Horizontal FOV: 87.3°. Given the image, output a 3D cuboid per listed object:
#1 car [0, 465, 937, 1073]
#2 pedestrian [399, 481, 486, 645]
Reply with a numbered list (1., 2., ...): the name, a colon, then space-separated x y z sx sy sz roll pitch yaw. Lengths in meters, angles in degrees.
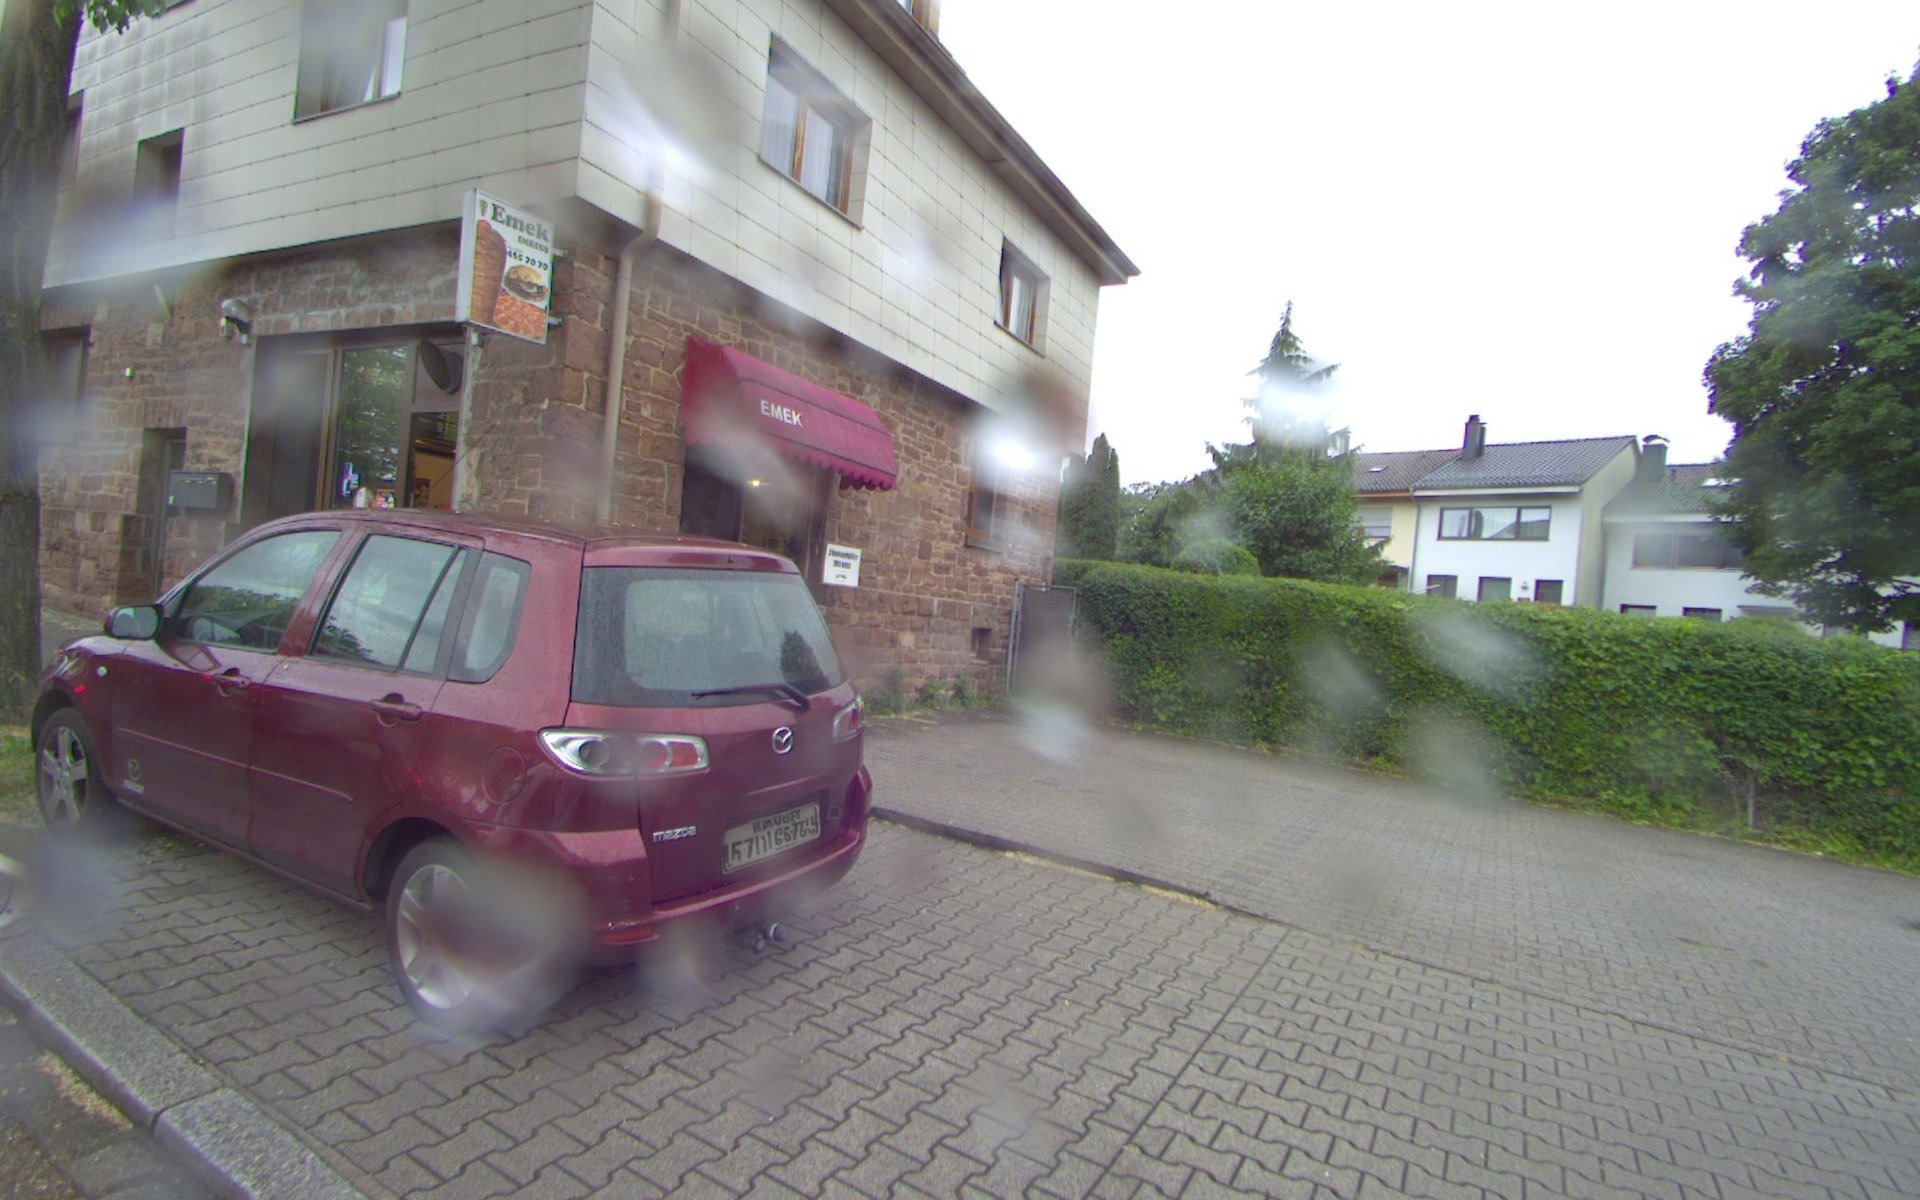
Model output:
1. car: -2.154 0.377 4.135 3.692 1.521 1.614 5 -3 29
2. pedestrian: -5.560 -0.391 10.822 0.447 1.679 0.493 7 -1 31
